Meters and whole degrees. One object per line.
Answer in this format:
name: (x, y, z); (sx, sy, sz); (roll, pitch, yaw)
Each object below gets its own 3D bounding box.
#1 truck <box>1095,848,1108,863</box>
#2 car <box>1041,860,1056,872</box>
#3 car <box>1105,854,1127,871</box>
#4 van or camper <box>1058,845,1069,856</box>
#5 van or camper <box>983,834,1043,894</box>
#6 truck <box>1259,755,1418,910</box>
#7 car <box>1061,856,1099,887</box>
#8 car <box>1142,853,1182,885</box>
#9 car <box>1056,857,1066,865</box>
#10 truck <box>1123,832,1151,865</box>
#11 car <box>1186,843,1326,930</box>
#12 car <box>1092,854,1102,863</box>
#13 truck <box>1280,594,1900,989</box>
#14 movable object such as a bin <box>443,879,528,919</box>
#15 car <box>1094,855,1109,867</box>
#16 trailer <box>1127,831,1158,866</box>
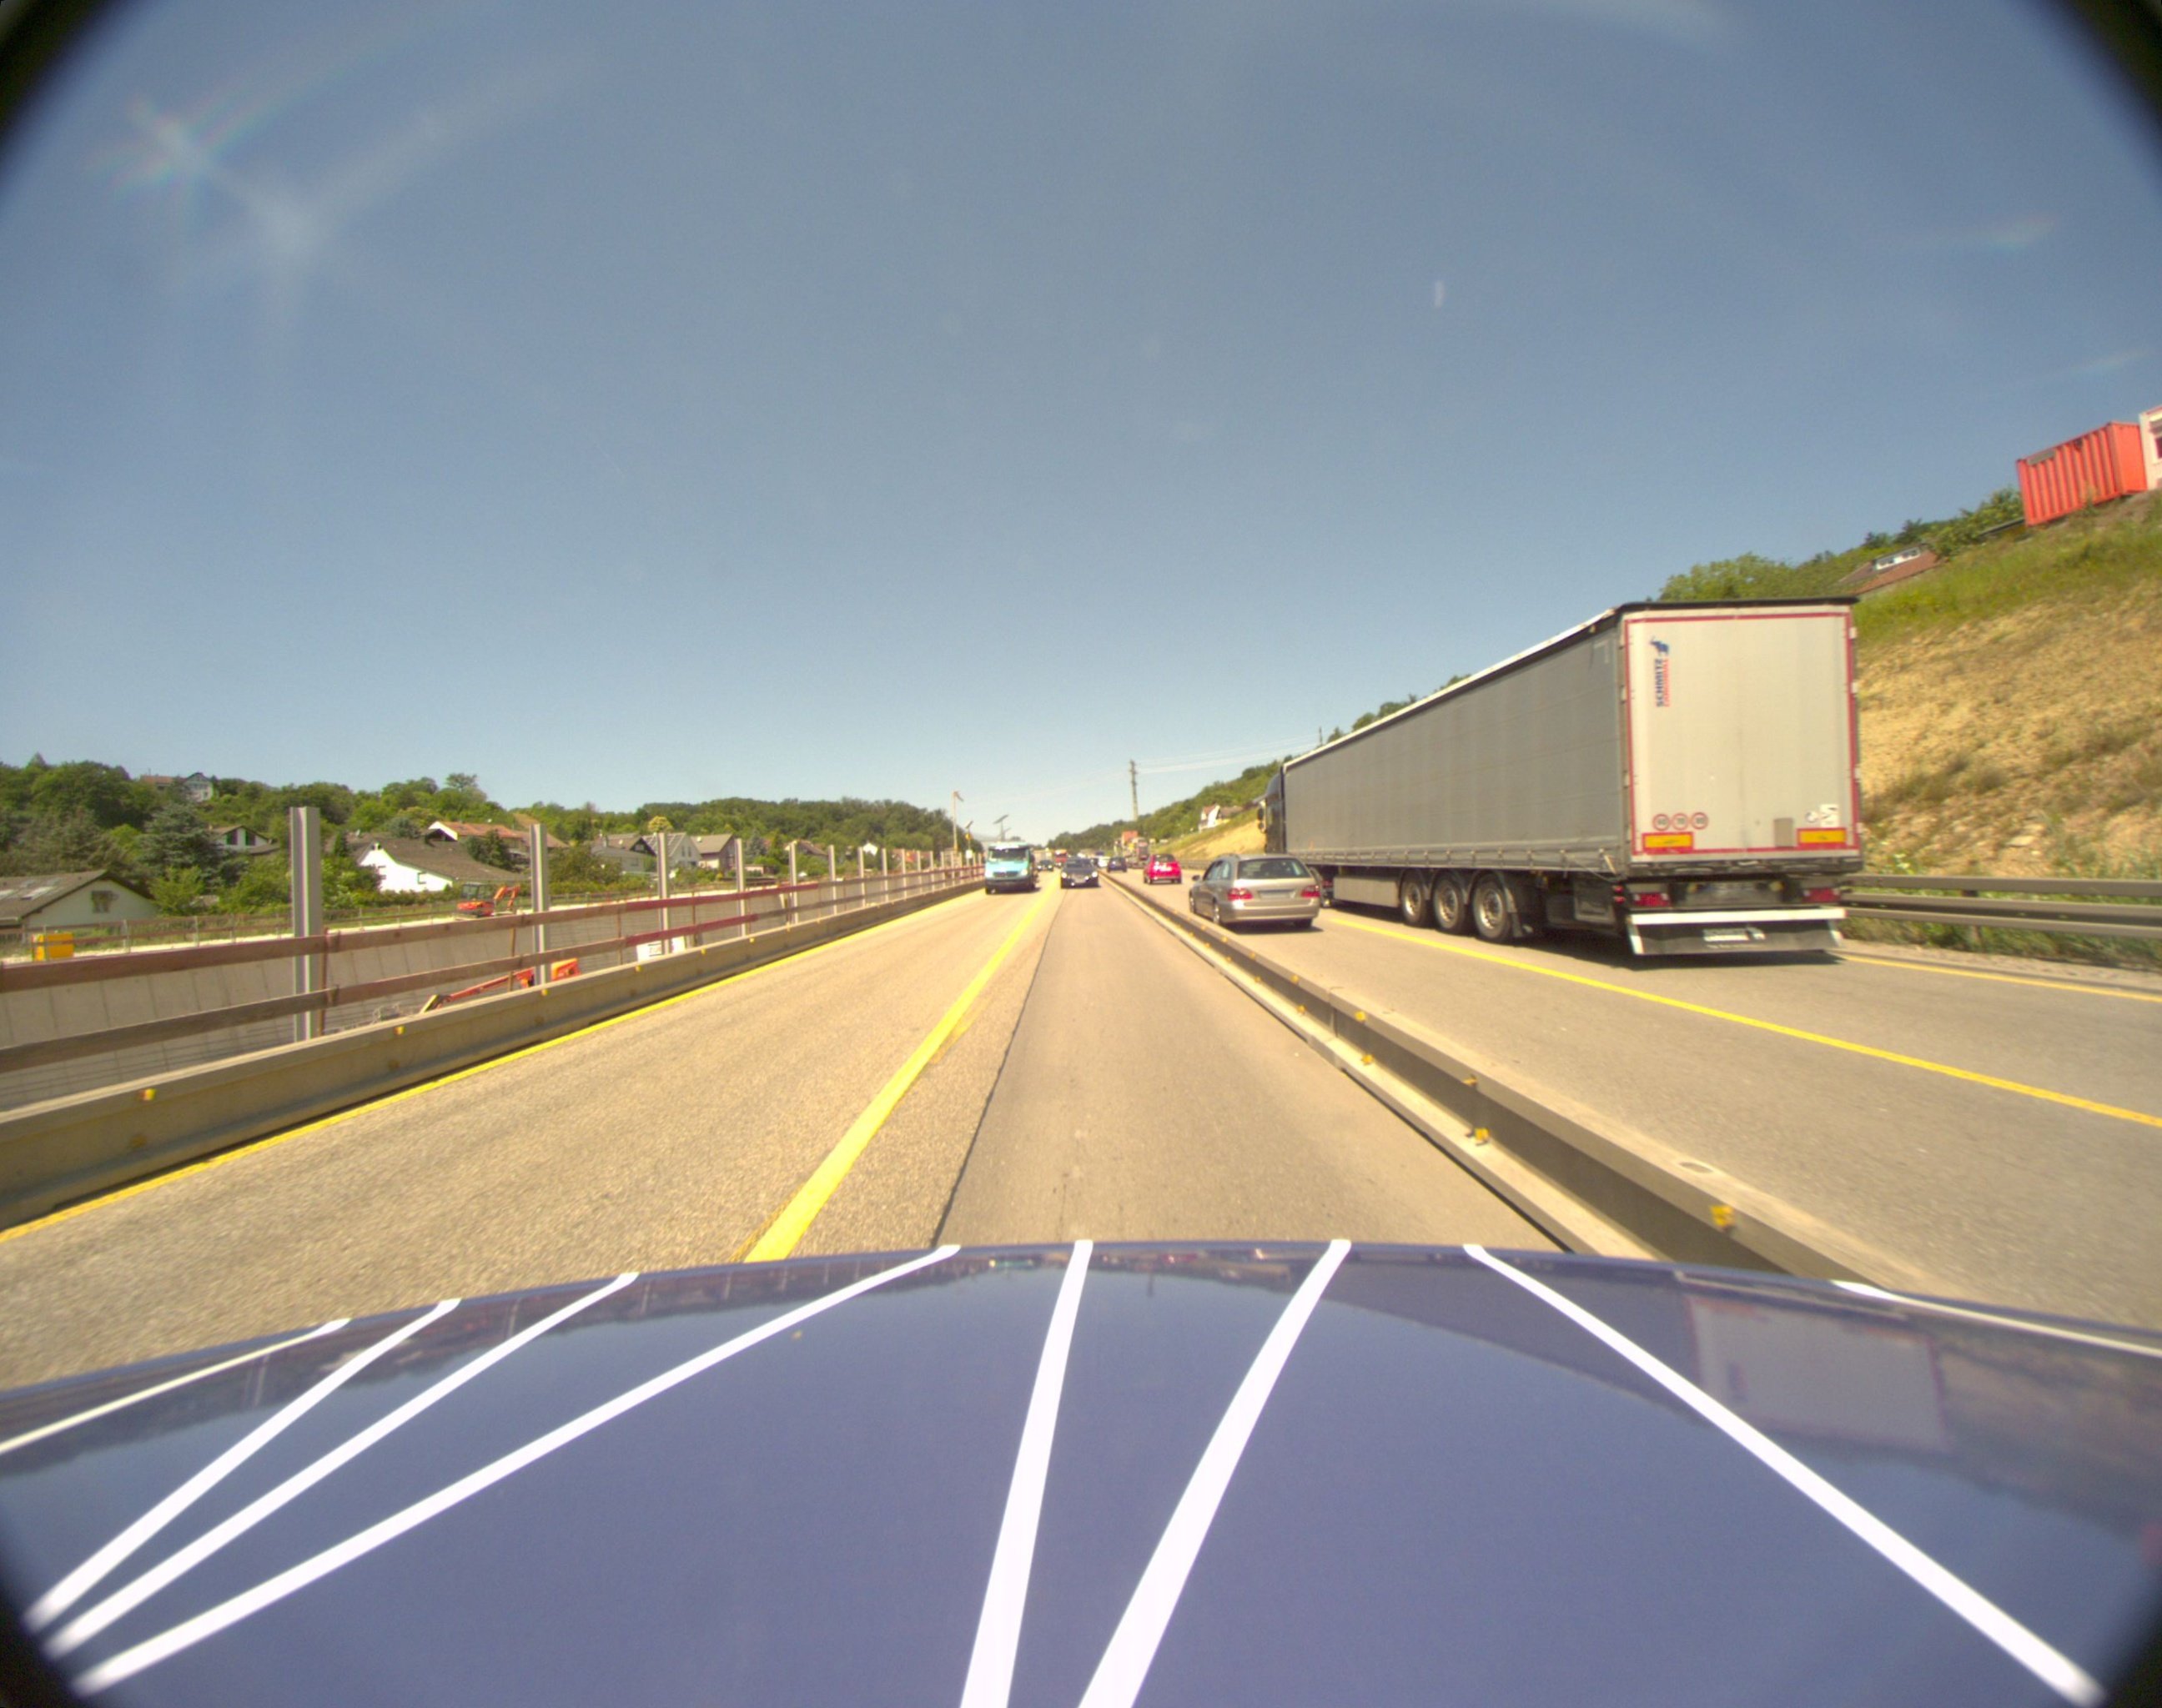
truck: (6.286, 0.490, 233.420); (3.252, 4.135, 13.977); (-2, 0, -1)
car: (-3.682, 1.324, 86.475); (1.611, 1.324, 3.496); (0, -1, 0)
car: (3.097, 0.703, 67.435); (1.689, 1.421, 3.849); (-2, 0, -1)
van or camper: (-4.268, -0.795, 185.663); (2.321, 2.513, 4.528); (-4, -1, 0)
van or camper: (-3.086, 0.466, 36.045); (2.098, 2.458, 7.671); (-2, -1, 0)
truck: (7.203, -0.561, 22.019); (2.774, 3.862, 4.963); (-2, 0, 0)
car: (-0.050, 0.857, 37.369); (1.747, 1.420, 4.000); (-1, -1, 0)
car: (4.041, 0.725, 38.204); (1.594, 1.478, 3.295); (-2, 0, 0)
car: (-4.177, 1.484, 158.042); (1.895, 1.698, 4.561); (-2, 0, 0)
truck: (6.813, -0.619, 92.948); (2.593, 3.701, 9.331); (-2, 0, 0)
car: (3.367, 0.574, 15.435); (1.831, 1.478, 4.195); (-2, 0, 0)
car: (3.095, 0.845, 147.567); (1.895, 1.698, 4.561); (-2, 0, 0)
truck: (7.207, -0.667, 14.934); (2.774, 4.064, 13.805); (-2, 0, 0)
movable object such as a bin: (-37.619, 2.811, 48.151); (1.998, 2.226, 4.152); (-2, 0, 1)
car: (2.563, 0.901, 95.152); (1.689, 1.421, 4.121); (-2, 0, -1)
trailer: (6.858, -0.561, 85.916); (2.593, 3.616, 9.077); (-2, 0, 0)
